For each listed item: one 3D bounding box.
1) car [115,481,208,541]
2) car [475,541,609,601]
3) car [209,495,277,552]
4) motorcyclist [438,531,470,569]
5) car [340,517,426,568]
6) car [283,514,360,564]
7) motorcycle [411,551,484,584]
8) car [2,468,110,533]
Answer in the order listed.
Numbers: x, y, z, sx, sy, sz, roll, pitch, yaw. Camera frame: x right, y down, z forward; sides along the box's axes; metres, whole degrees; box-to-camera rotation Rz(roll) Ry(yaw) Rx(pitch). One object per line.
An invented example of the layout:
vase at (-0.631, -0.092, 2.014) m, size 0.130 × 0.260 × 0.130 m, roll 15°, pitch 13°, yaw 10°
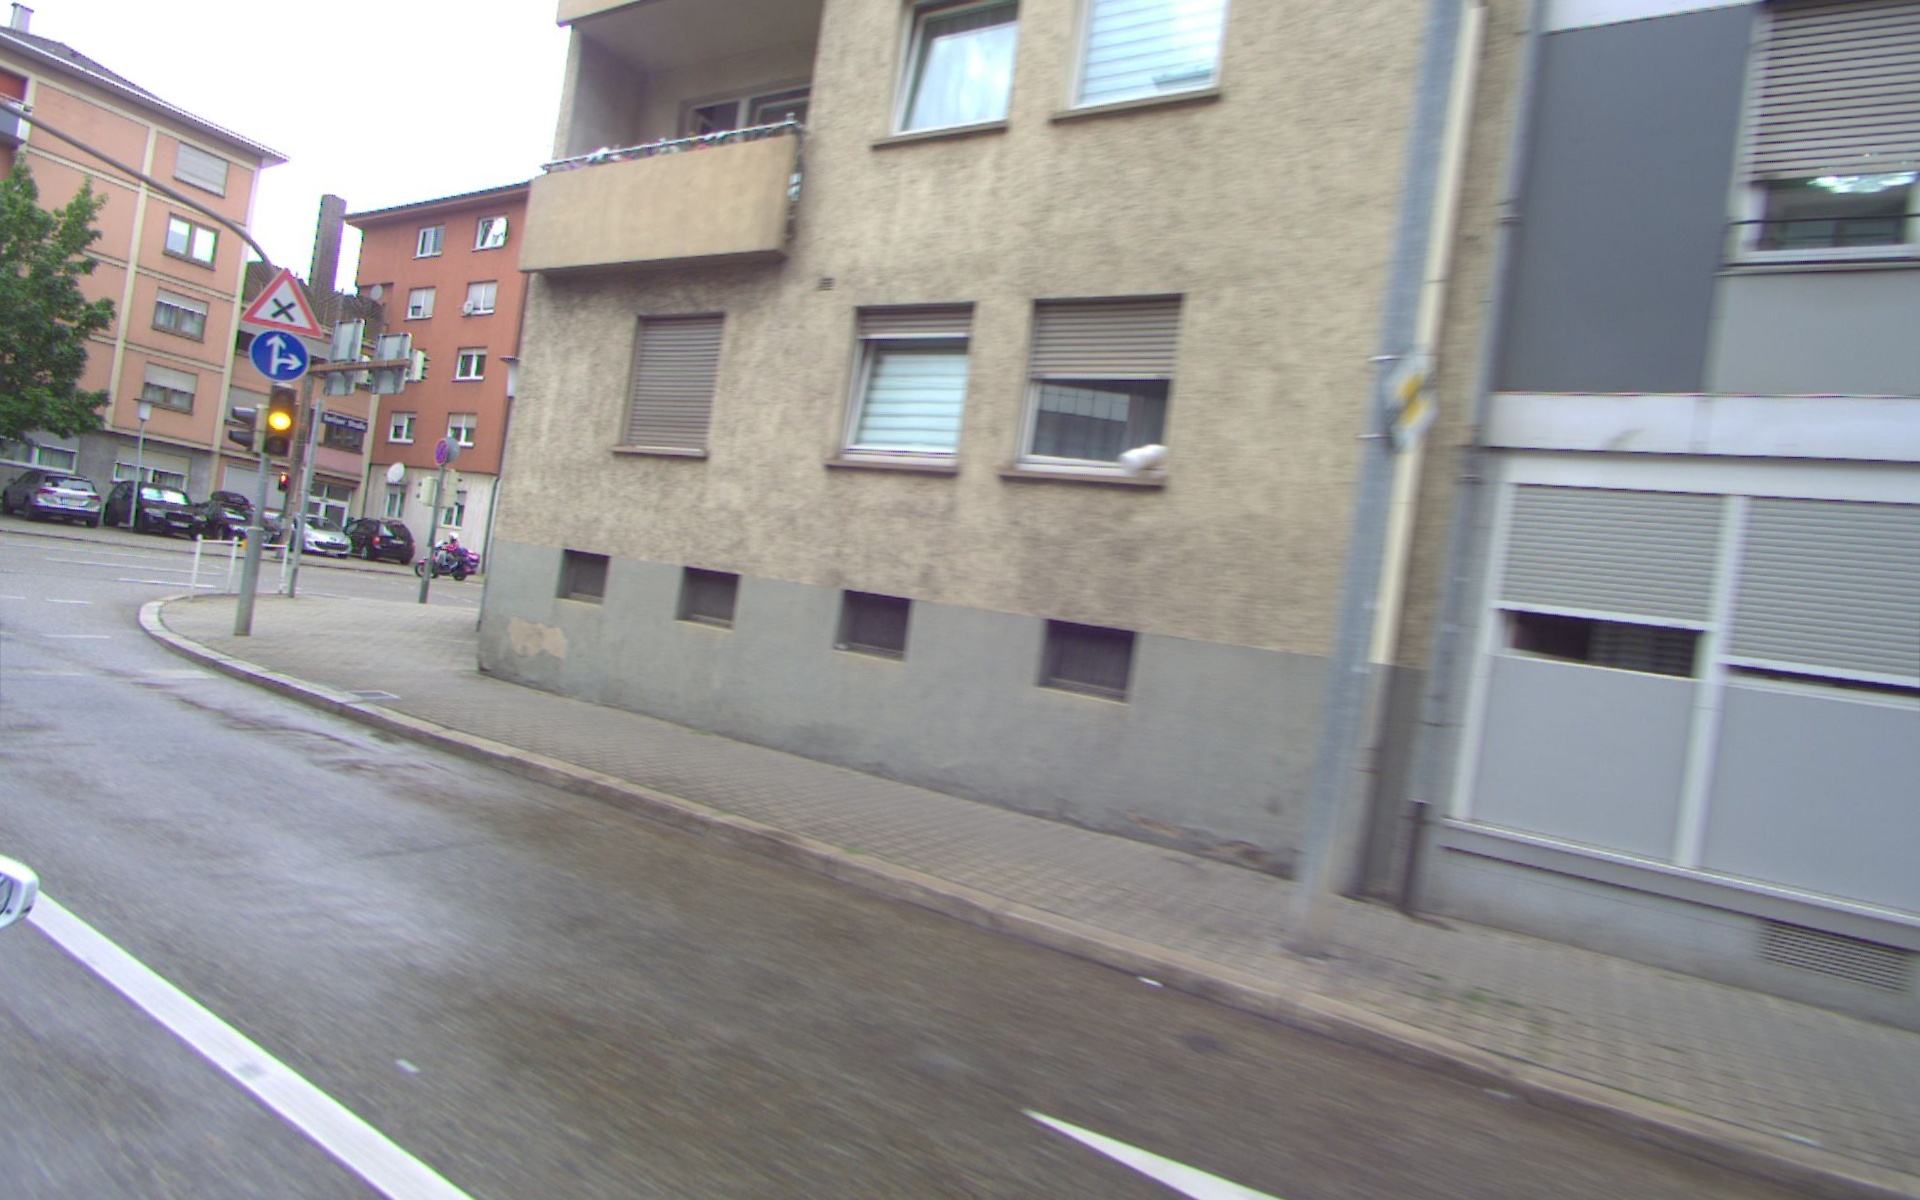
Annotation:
car at (-28.146, -3.153, 35.410) m, size 3.947 × 1.740 × 1.982 m, roll 7°, pitch 0°, yaw 44°
car at (-14.645, -0.984, 35.443) m, size 1.809 × 1.573 × 3.996 m, roll 7°, pitch -1°, yaw 28°
car at (-26.850, -2.851, 37.707) m, size 1.786 × 1.717 × 3.961 m, roll 10°, pitch -2°, yaw -36°
motorcyclist at (-17.951, -1.764, 35.666) m, size 0.643 × 1.239 × 0.657 m, roll 8°, pitch 1°, yaw 26°
car at (-24.279, -2.425, 42.271) m, size 3.949 × 1.724 × 1.991 m, roll 5°, pitch -4°, yaw 45°
car at (-25.356, -2.437, 39.875) m, size 1.666 × 1.599 × 3.951 m, roll 10°, pitch -4°, yaw -44°
motorcycle at (-18.084, -1.138, 35.568) m, size 0.626 × 0.938 × 2.362 m, roll 6°, pitch 0°, yaw 25°
car at (-30.116, -3.318, 33.486) m, size 3.941 × 1.680 × 1.986 m, roll 7°, pitch -1°, yaw 39°
